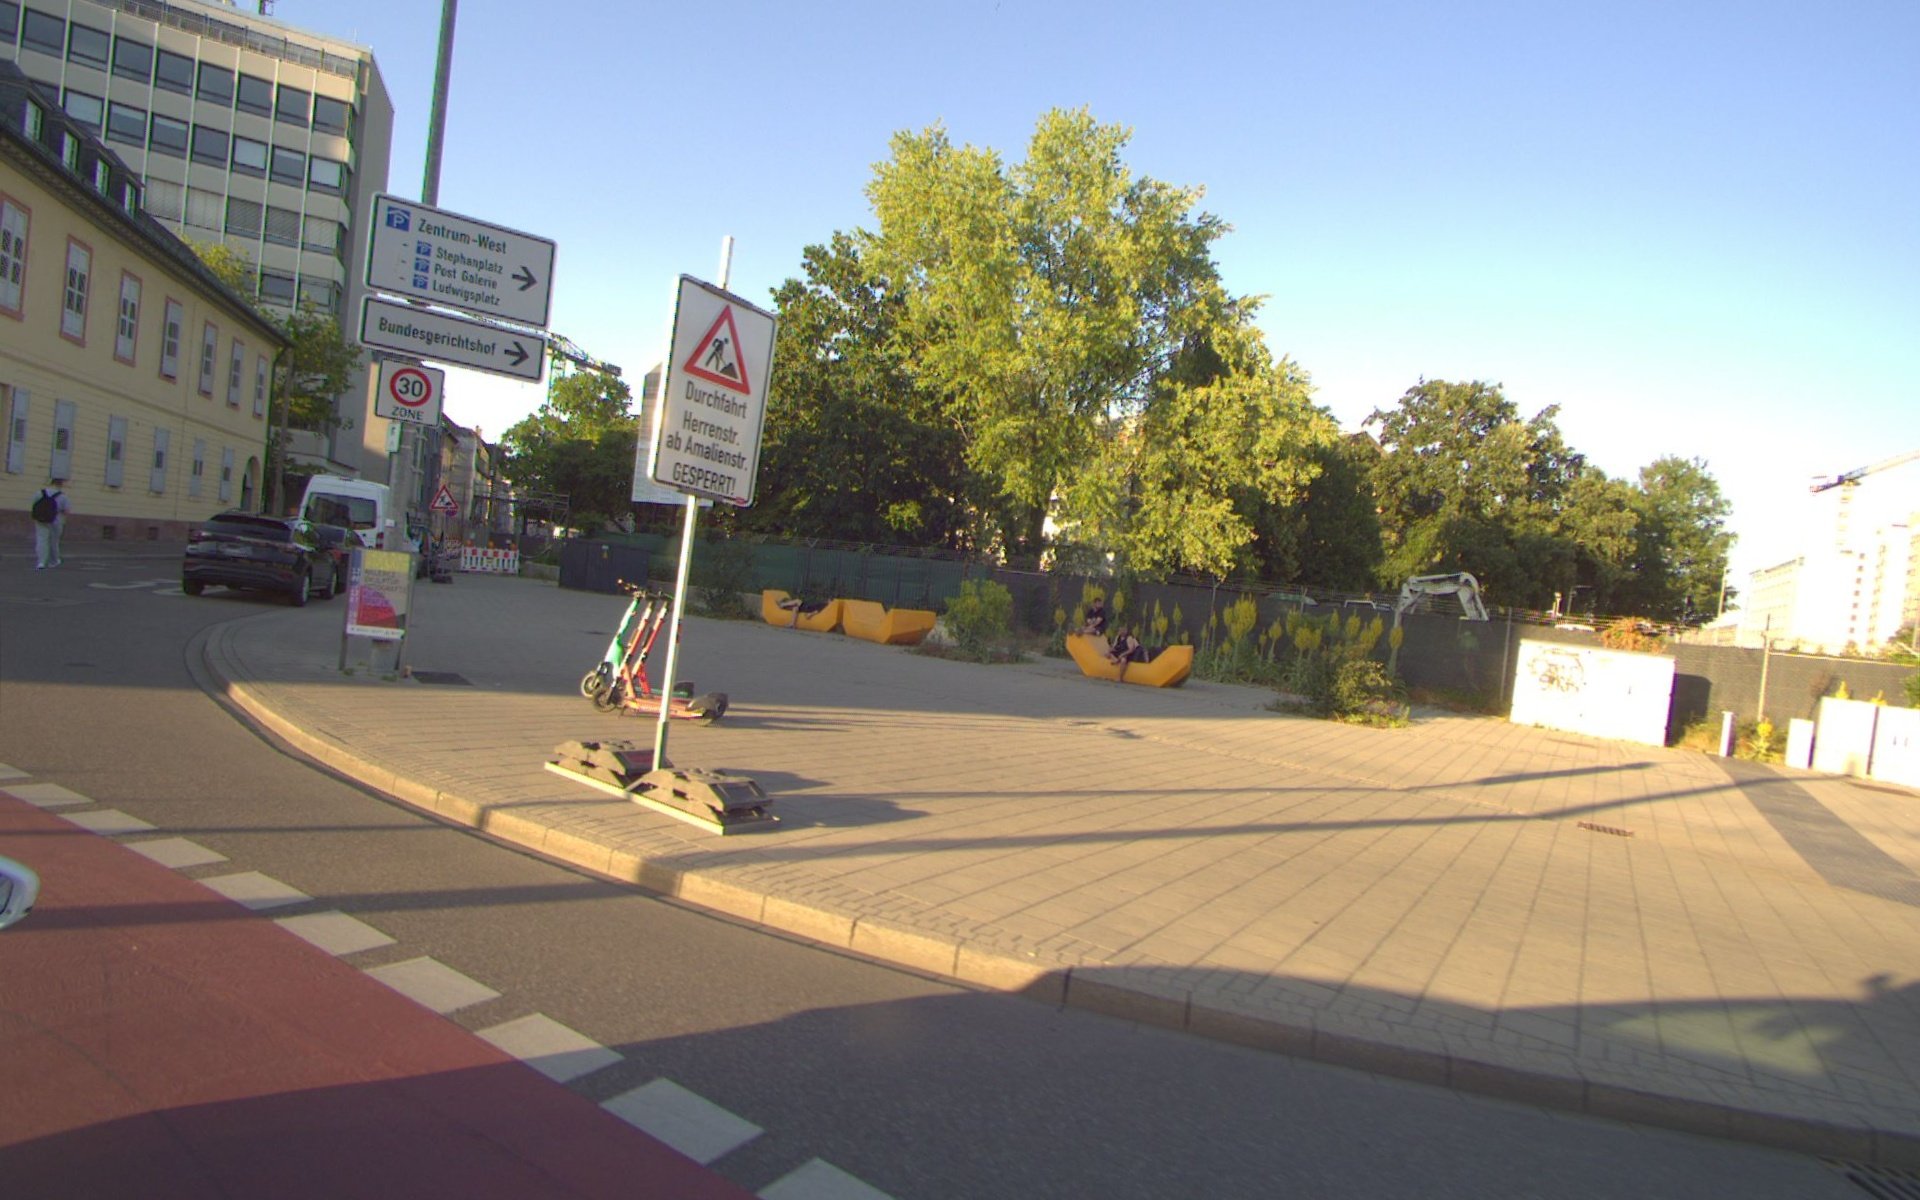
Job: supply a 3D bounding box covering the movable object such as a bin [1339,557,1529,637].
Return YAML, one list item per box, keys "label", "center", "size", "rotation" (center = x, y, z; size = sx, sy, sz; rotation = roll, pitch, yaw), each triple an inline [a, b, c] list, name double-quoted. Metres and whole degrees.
- label: "movable object such as a bin"
  center: [14.695, -0.157, 31.521]
  size: [1.977, 2.039, 4.985]
  rotation: [6, 1, -29]

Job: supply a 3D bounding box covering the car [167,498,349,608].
- label: "car"
  center: [-12.516, -0.859, 18.228]
  size: [1.761, 1.563, 4.265]
  rotation: [6, 1, -24]

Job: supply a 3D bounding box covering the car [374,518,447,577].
- label: "car"
  center: [-20.286, -1.940, 37.271]
  size: [1.694, 1.872, 4.001]
  rotation: [6, 1, -21]

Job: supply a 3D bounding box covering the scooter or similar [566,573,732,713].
- label: "scooter or similar"
  center: [-3.224, 0.442, 10.526]
  size: [1.502, 1.276, 0.610]
  rotation: [6, 2, -15]

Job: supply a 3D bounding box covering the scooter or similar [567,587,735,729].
- label: "scooter or similar"
  center: [-2.900, 0.549, 9.509]
  size: [1.382, 1.181, 0.459]
  rotation: [6, 2, -16]

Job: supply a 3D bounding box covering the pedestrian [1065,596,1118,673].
- label: "pedestrian"
  center: [3.055, 0.795, 23.341]
  size: [0.752, 1.687, 0.819]
  rotation: [7, 2, 36]

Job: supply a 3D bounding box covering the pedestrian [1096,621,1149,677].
- label: "pedestrian"
  center: [3.728, 1.124, 22.991]
  size: [0.723, 1.172, 0.987]
  rotation: [7, 1, 35]

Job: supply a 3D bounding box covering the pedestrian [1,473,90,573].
- label: "pedestrian"
  center: [-17.308, -1.434, 19.064]
  size: [0.866, 1.746, 0.826]
  rotation: [7, 1, -18]

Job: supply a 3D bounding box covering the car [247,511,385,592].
- label: "car"
  center: [-14.397, -1.100, 22.740]
  size: [1.711, 1.448, 4.449]
  rotation: [7, 1, -22]

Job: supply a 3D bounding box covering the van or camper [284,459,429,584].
- label: "van or camper"
  center: [-16.487, -2.057, 27.890]
  size: [2.054, 2.810, 6.418]
  rotation: [6, 1, -20]

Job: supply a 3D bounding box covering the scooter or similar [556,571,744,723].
- label: "scooter or similar"
  center: [-3.045, 0.467, 9.988]
  size: [1.627, 1.309, 0.460]
  rotation: [7, 1, -15]

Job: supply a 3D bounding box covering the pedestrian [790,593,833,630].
- label: "pedestrian"
  center: [-4.119, 0.325, 27.893]
  size: [0.963, 0.904, 0.562]
  rotation: [7, 1, 14]
